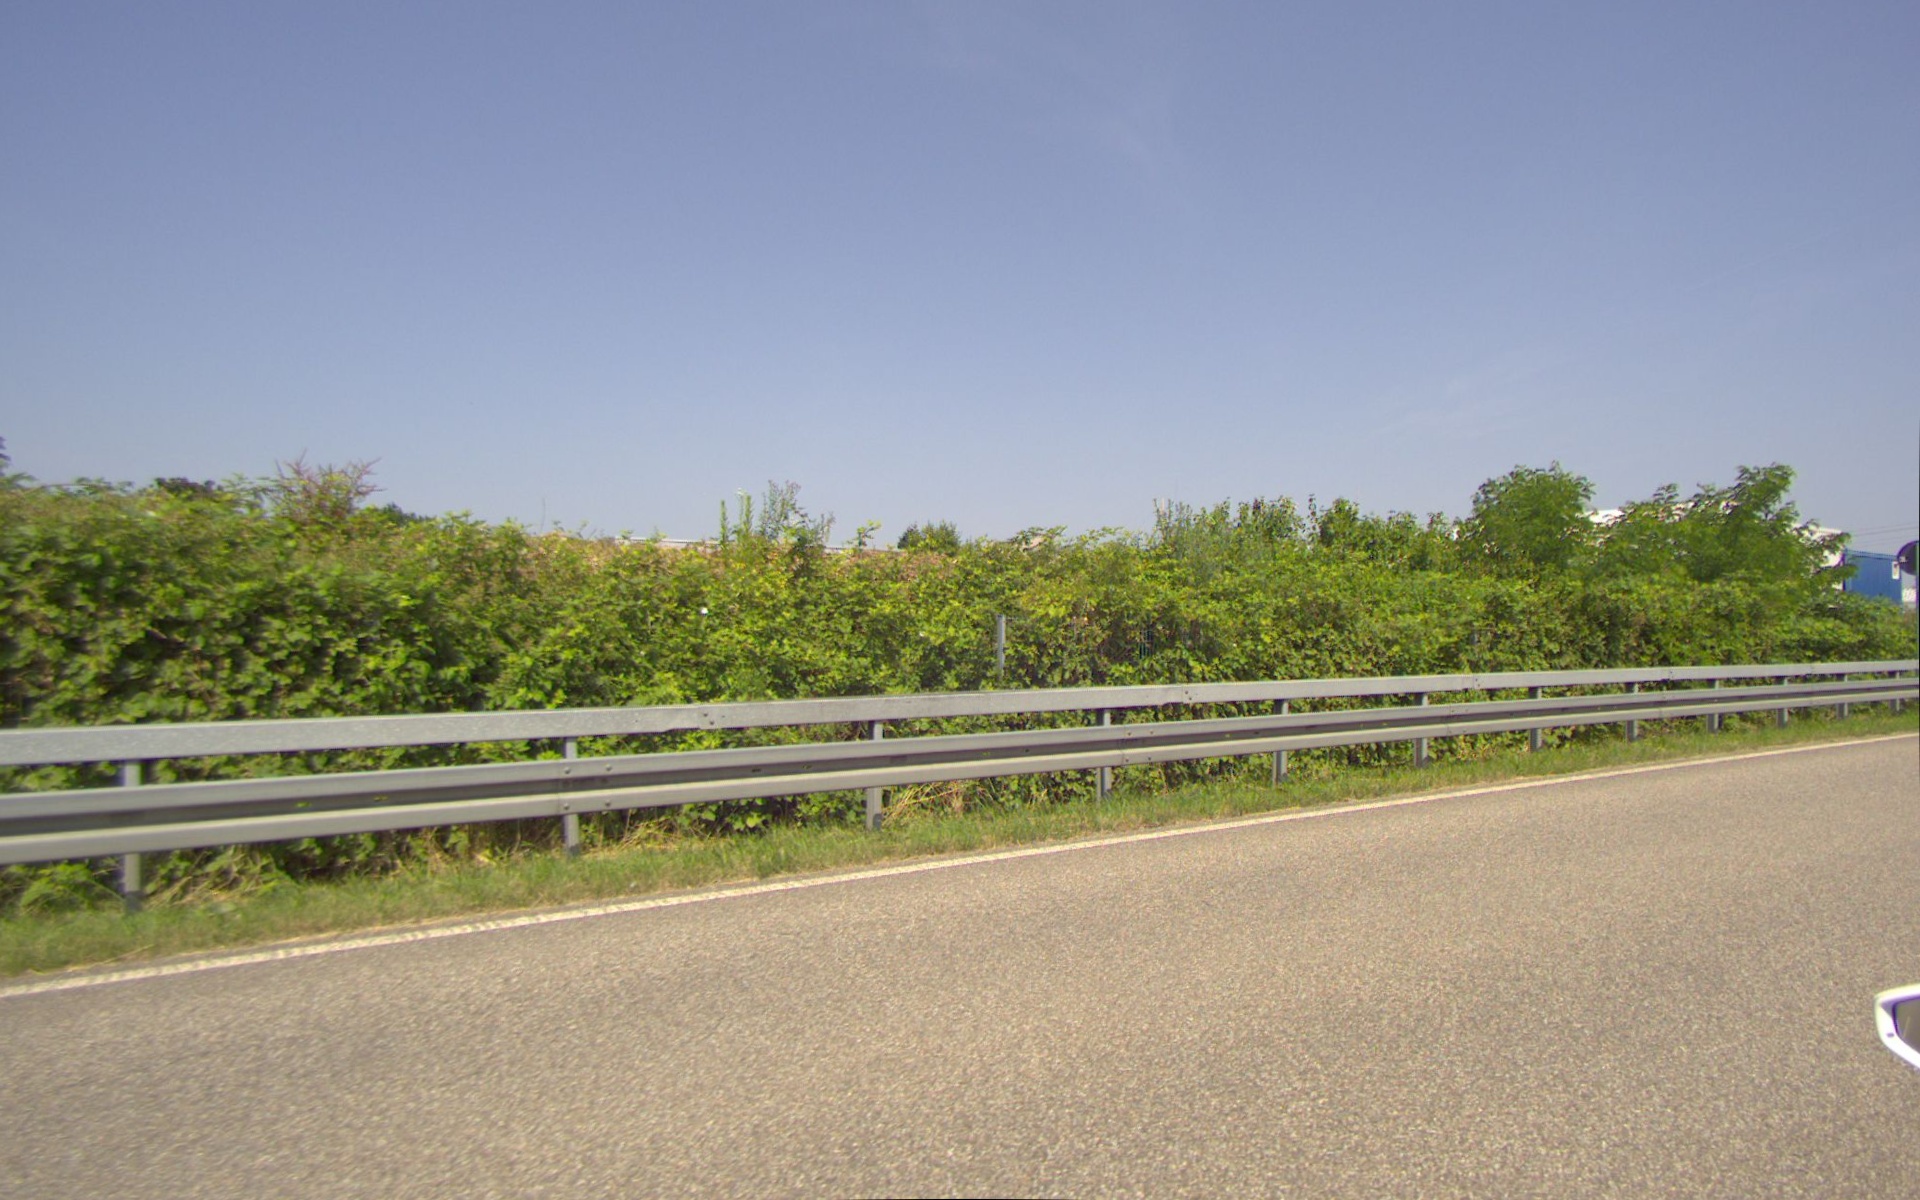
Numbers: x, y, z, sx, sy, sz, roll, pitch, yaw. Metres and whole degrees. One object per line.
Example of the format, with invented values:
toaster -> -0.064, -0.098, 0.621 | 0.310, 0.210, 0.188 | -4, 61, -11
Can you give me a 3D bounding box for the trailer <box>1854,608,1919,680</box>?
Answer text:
trailer -> 34.331, 1.563, 36.479 | 3.884, 2.470, 1.980 | 1, 0, -36
